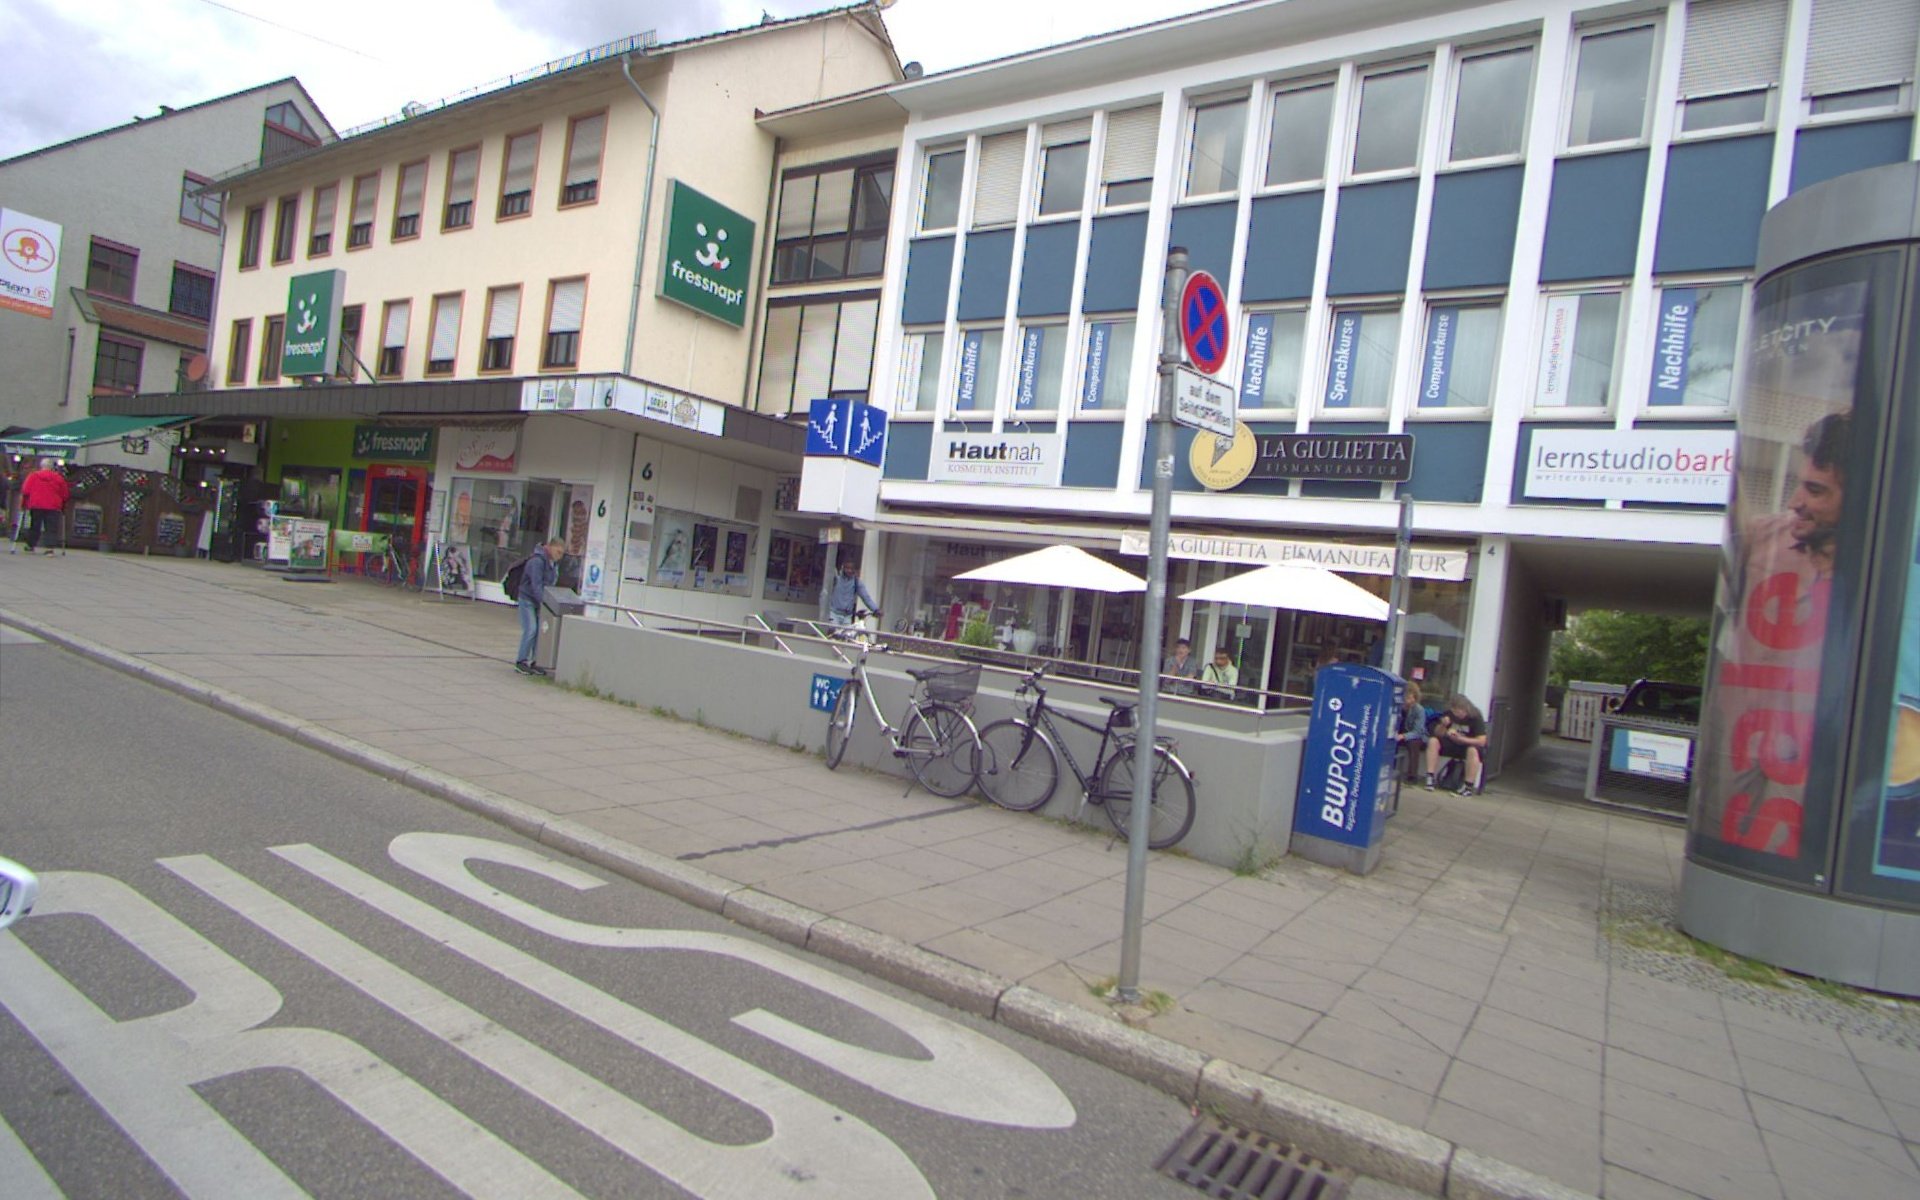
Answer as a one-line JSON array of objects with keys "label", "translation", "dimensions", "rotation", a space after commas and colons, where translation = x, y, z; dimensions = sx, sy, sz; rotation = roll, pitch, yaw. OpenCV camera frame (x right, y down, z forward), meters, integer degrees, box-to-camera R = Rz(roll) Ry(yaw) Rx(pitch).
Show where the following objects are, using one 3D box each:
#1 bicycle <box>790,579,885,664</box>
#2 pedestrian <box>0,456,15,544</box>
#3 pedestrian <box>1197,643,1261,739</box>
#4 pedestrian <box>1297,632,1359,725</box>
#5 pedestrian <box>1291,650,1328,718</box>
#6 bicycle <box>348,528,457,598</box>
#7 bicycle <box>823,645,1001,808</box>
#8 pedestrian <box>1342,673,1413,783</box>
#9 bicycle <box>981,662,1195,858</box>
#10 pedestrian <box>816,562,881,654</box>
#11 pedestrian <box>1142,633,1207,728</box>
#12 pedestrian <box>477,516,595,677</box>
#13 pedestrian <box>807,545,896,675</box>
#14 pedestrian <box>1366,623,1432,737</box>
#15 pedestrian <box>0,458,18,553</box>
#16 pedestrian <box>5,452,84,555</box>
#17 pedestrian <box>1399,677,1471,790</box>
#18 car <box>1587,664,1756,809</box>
[{"label": "bicycle", "translation": [-1.688, 0.280, 13.751], "dimensions": [1.365, 0.986, 0.273], "rotation": [8, 1, 36]}, {"label": "pedestrian", "translation": [-15.477, -1.471, 15.807], "dimensions": [0.605, 1.696, 0.613], "rotation": [8, -2, 35]}, {"label": "pedestrian", "translation": [3.801, 1.278, 14.189], "dimensions": [0.578, 1.235, 0.614], "rotation": [8, 1, 31]}, {"label": "pedestrian", "translation": [5.339, 1.141, 14.578], "dimensions": [0.578, 1.233, 0.614], "rotation": [8, -2, 32]}, {"label": "pedestrian", "translation": [5.265, 1.269, 15.154], "dimensions": [0.347, 0.954, 0.301], "rotation": [8, -2, 33]}, {"label": "bicycle", "translation": [-10.840, -0.724, 19.524], "dimensions": [2.312, 1.076, 0.741], "rotation": [8, 2, 32]}, {"label": "bicycle", "translation": [-0.395, 0.934, 7.703], "dimensions": [1.365, 0.986, 0.273], "rotation": [8, 1, 35]}, {"label": "pedestrian", "translation": [5.153, 1.555, 12.405], "dimensions": [0.578, 1.236, 0.613], "rotation": [8, 2, 31]}, {"label": "bicycle", "translation": [0.851, 1.056, 6.933], "dimensions": [1.365, 1.066, 0.273], "rotation": [8, 1, 35]}, {"label": "pedestrian", "translation": [-2.170, 0.164, 19.591], "dimensions": [0.839, 1.655, 0.688], "rotation": [8, 1, 30]}, {"label": "pedestrian", "translation": [3.054, 1.151, 14.293], "dimensions": [0.578, 1.233, 0.614], "rotation": [8, -2, 31]}, {"label": "pedestrian", "translation": [-4.682, -0.033, 11.120], "dimensions": [0.839, 1.655, 0.688], "rotation": [8, 1, 34]}, {"label": "pedestrian", "translation": [-1.496, 0.138, 13.865], "dimensions": [0.789, 1.655, 0.665], "rotation": [8, 1, 41]}, {"label": "pedestrian", "translation": [6.168, 1.128, 14.120], "dimensions": [0.578, 1.477, 0.614], "rotation": [8, -2, 32]}, {"label": "pedestrian", "translation": [-17.198, -1.705, 17.663], "dimensions": [0.604, 1.655, 0.719], "rotation": [7, 1, 30]}, {"label": "pedestrian", "translation": [-16.778, -1.753, 18.441], "dimensions": [0.768, 1.765, 0.796], "rotation": [6, 2, 28]}, {"label": "pedestrian", "translation": [5.715, 1.601, 12.088], "dimensions": [0.578, 1.233, 0.614], "rotation": [8, -2, 31]}, {"label": "car", "translation": [10.872, 2.036, 15.402], "dimensions": [1.708, 1.686, 3.967], "rotation": [8, -1, 36]}]
